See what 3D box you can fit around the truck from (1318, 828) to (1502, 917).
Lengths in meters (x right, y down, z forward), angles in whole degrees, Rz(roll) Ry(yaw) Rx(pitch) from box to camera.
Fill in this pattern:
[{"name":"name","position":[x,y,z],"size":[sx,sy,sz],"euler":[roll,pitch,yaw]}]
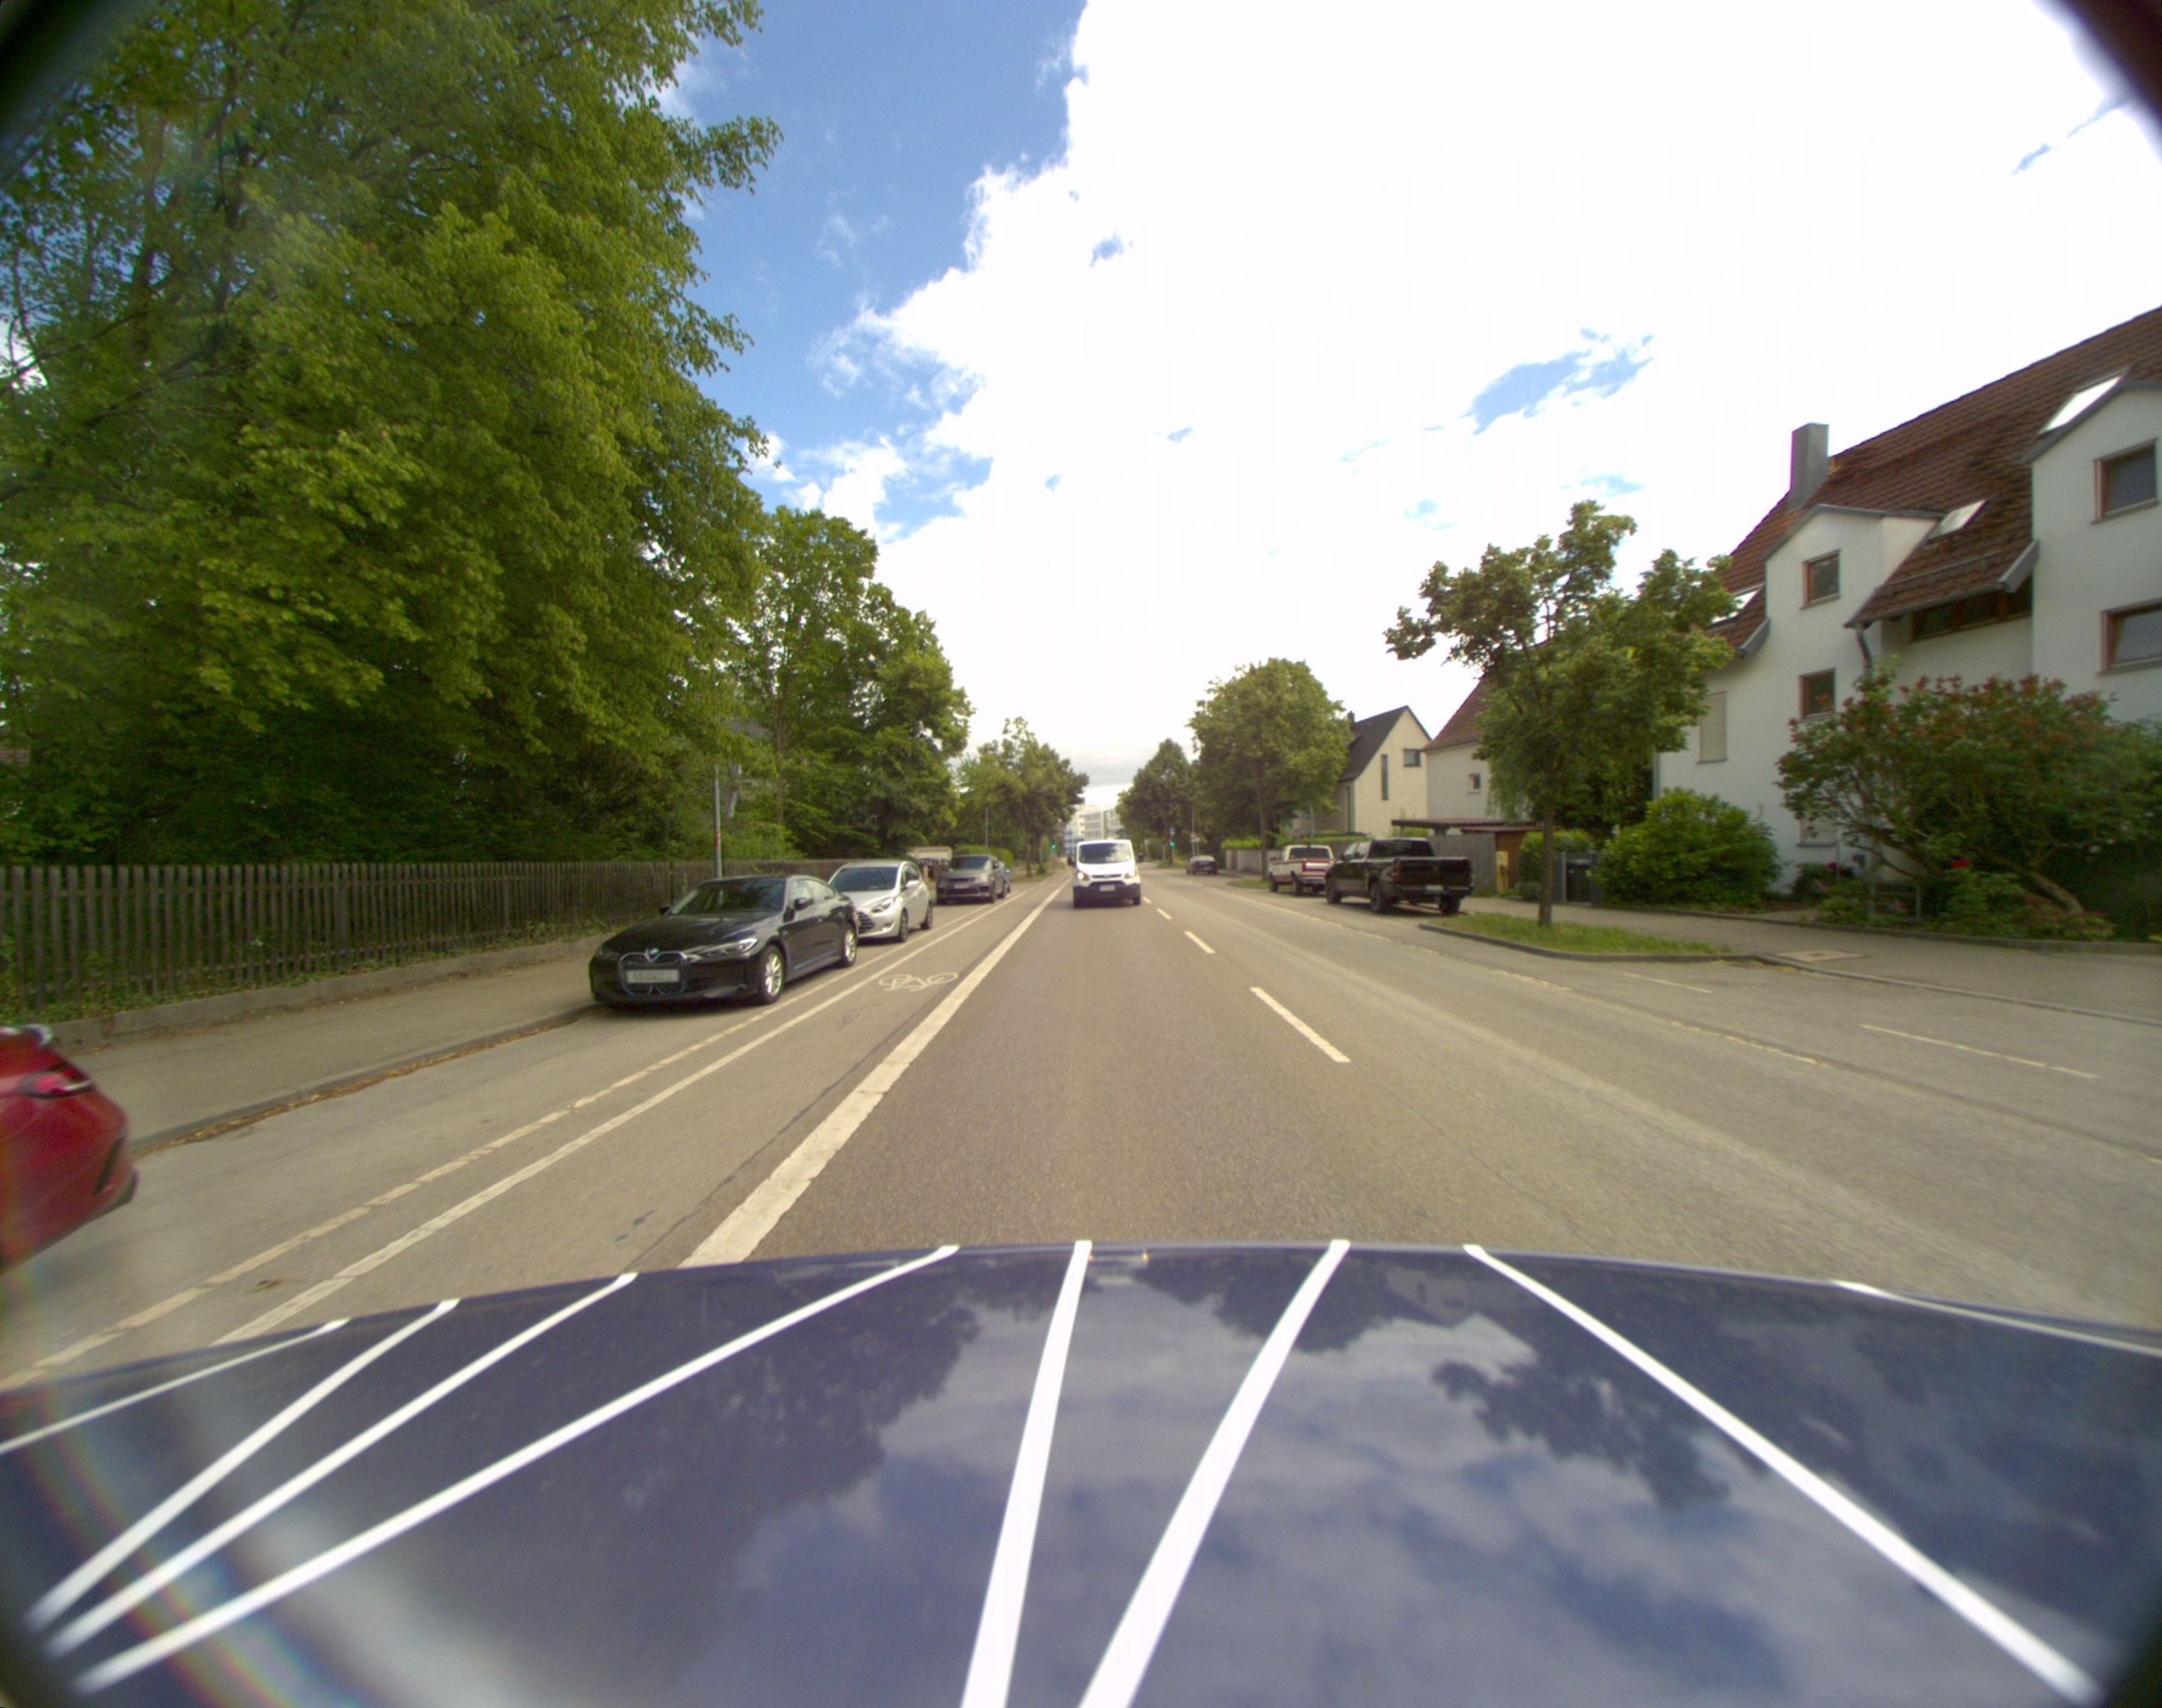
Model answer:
[{"name":"truck","position":[8.579,0.418,20.642],"size":[2.429,2.031,5.994],"euler":[-1,0,0]}]

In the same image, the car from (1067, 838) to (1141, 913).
[{"name":"car","position":[0.707,0.568,23.825],"size":[1.998,2.002,5.188],"euler":[-3,1,1]}]

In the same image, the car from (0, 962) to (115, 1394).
[{"name":"car","position":[-4.626,1.143,0.629],"size":[1.864,1.405,4.444],"euler":[-3,0,1]}]

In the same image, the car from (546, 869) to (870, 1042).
[{"name":"car","position":[-4.371,1.057,9.916],"size":[1.820,1.506,4.679],"euler":[-3,1,0]}]

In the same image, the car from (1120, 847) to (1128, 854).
[{"name":"car","position":[9.896,-0.747,175.661],"size":[1.786,1.622,4.001],"euler":[-1,0,4]}]

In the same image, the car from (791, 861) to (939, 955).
[{"name":"car","position":[-4.309,0.999,15.941],"size":[1.867,1.580,4.421],"euler":[-2,0,-1]}]

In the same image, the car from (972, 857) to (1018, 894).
[{"name":"car","position":[-3.964,0.958,35.494],"size":[1.689,1.493,3.920],"euler":[-2,1,-1]}]

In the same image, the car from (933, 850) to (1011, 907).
[{"name":"car","position":[-3.904,0.821,27.988],"size":[1.998,1.805,4.827],"euler":[-2,1,1]}]

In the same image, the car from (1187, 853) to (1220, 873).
[{"name":"car","position":[9.128,0.620,57.000],"size":[1.750,1.400,4.927],"euler":[0,0,1]}]

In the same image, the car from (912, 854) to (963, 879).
[{"name":"car","position":[-9.424,0.824,50.106],"size":[1.647,1.559,3.225],"euler":[-1,0,25]}]

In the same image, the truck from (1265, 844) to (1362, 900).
[{"name":"truck","position":[8.505,0.570,28.338],"size":[1.971,1.857,5.664],"euler":[1,1,1]}]
